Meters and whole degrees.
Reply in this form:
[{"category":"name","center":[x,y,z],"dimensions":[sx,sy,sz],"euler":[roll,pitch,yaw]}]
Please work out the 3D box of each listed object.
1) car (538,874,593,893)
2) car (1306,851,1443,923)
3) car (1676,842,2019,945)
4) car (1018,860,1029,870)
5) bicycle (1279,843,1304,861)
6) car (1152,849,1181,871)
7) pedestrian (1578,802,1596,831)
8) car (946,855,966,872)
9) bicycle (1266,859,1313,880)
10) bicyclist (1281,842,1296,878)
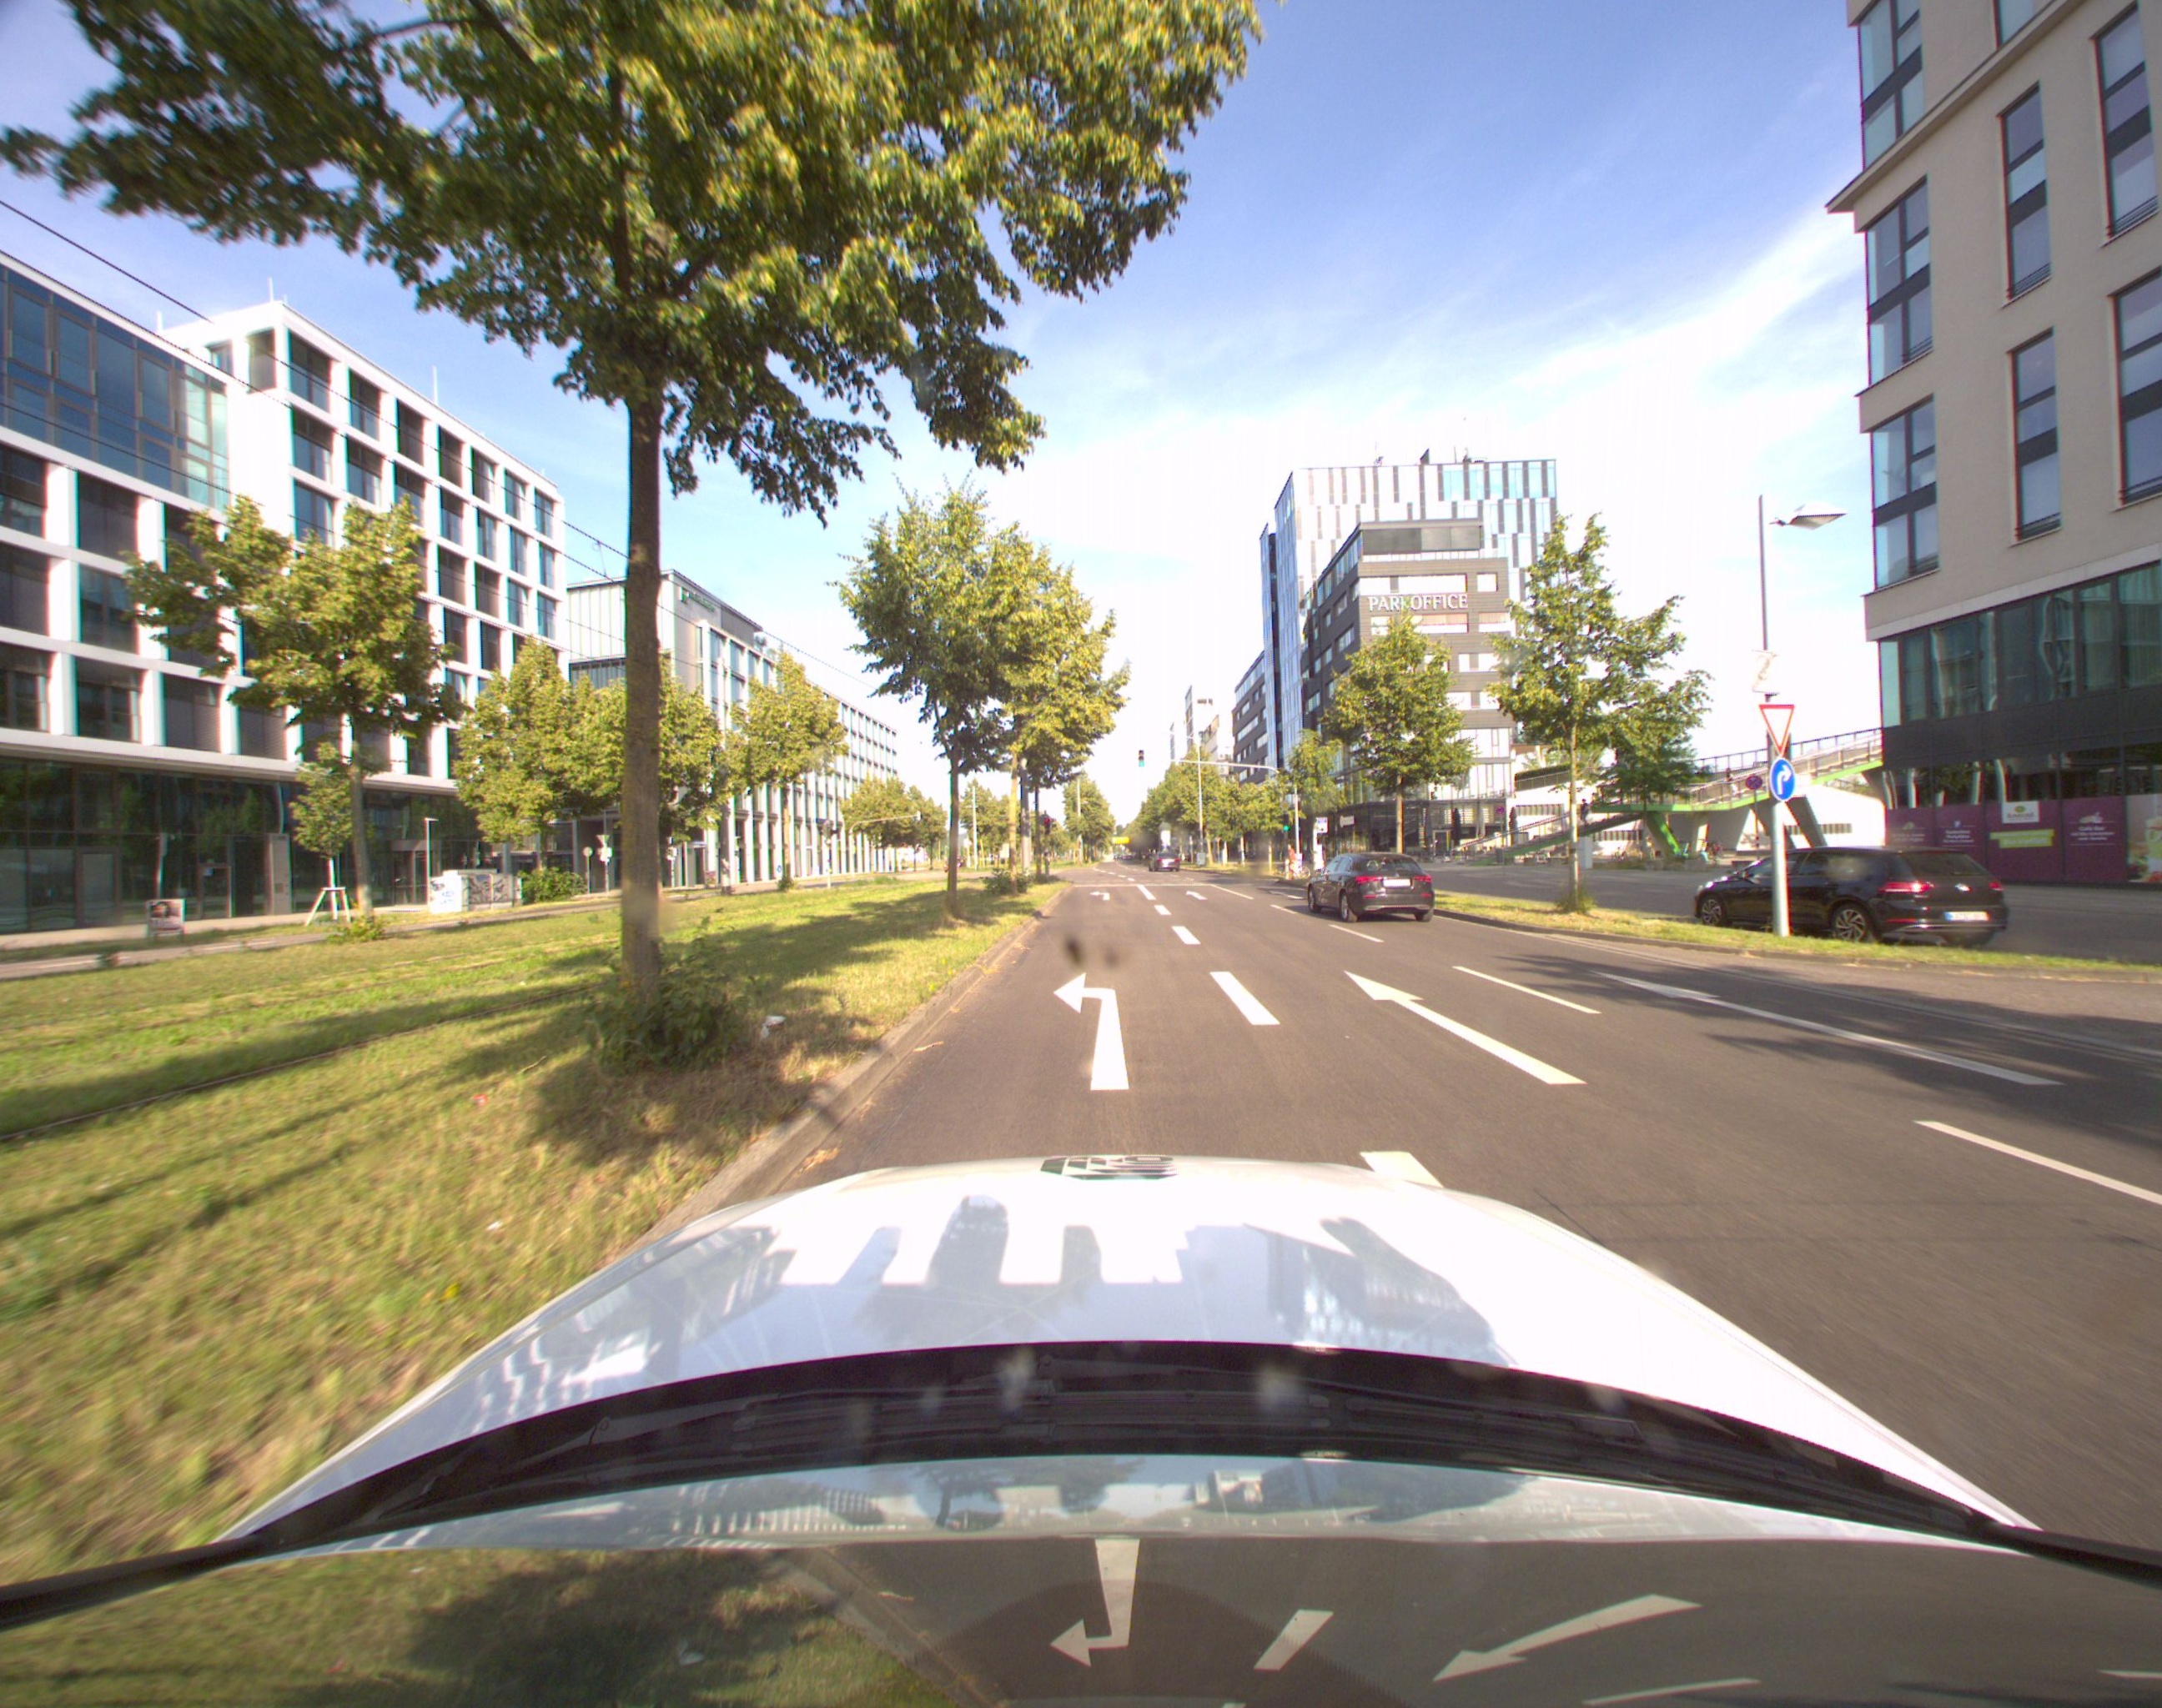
[{"category":"car","center":[-40.105,2.295,63.376],"dimensions":[3.478,1.424,1.580],"euler":[0,-1,11]},{"category":"car","center":[6.323,0.668,18.018],"dimensions":[1.767,1.424,3.963],"euler":[0,0,2]},{"category":"car","center":[11.736,0.546,12.936],"dimensions":[1.601,1.370,4.158],"euler":[0,0,1]},{"category":"car","center":[-11.855,2.295,167.333],"dimensions":[1.772,2.014,4.001],"euler":[0,-1,2]},{"category":"bicycle","center":[22.371,-0.194,86.733],"dimensions":[2.548,1.857,0.571],"euler":[0,-1,11]},{"category":"car","center":[6.179,0.418,58.956],"dimensions":[1.852,1.524,3.787],"euler":[0,0,2]},{"category":"pedestrian","center":[30.199,-2.213,48.622],"dimensions":[0.688,1.692,0.790],"euler":[0,-1,15]},{"category":"car","center":[-13.434,1.028,87.702],"dimensions":[1.679,1.775,3.880],"euler":[0,-1,-2]},{"category":"bicycle","center":[10.078,0.751,39.305],"dimensions":[2.128,1.013,0.571],"euler":[0,-1,-2]},{"category":"bicyclist","center":[10.003,0.297,39.296],"dimensions":[0.573,1.707,0.540],"euler":[0,-1,-2]}]
